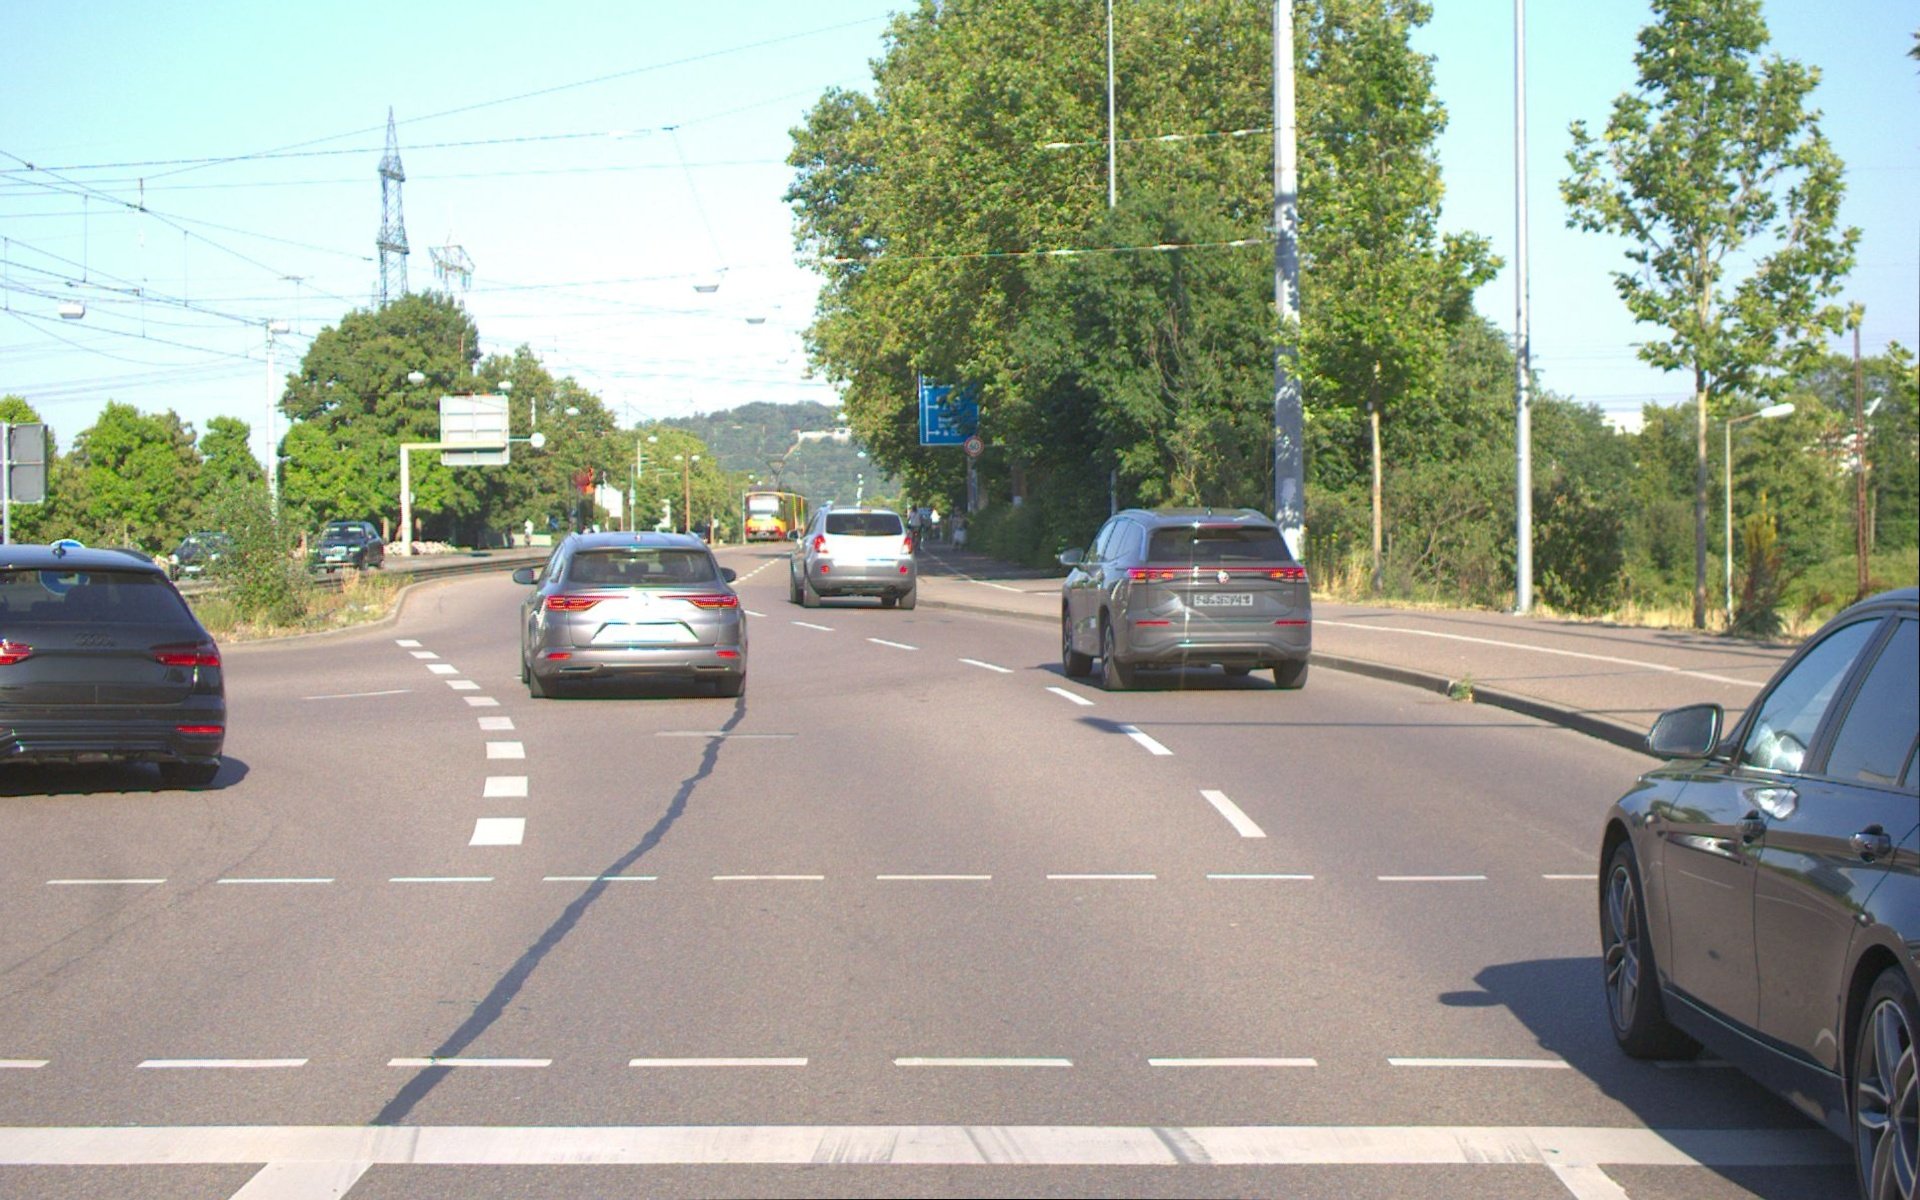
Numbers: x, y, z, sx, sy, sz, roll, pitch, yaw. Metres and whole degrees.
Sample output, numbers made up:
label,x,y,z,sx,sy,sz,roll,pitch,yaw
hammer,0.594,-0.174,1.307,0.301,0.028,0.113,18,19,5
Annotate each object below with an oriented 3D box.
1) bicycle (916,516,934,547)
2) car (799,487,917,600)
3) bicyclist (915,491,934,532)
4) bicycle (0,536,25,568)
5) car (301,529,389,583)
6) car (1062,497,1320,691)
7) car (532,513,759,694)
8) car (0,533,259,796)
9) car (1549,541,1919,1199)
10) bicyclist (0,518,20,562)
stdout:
label,x,y,z,sx,sy,sz,roll,pitch,yaw
bicycle,-1.305,-2.538,126.695,0.622,1.116,1.813,-2,2,-1
car,-1.708,-0.981,57.910,1.883,1.789,4.001,1,2,-1
bicyclist,-1.302,-3.270,126.748,0.685,1.503,0.891,0,2,-1
bicycle,-33.639,-1.688,121.026,0.705,1.069,2.027,2,2,6
car,-20.076,-1.458,112.413,1.993,1.649,4.659,-2,2,0
car,2.066,-0.115,31.997,1.844,1.655,4.440,0,2,-3
car,-2.795,-0.025,30.931,1.865,1.462,4.667,1,2,-4
car,-5.755,0.319,21.028,1.915,1.453,4.092,0,1,-26
car,2.769,0.620,8.272,1.866,1.462,4.587,0,2,-1
bicyclist,-33.624,-2.123,121.064,0.705,1.507,0.970,2,2,6
